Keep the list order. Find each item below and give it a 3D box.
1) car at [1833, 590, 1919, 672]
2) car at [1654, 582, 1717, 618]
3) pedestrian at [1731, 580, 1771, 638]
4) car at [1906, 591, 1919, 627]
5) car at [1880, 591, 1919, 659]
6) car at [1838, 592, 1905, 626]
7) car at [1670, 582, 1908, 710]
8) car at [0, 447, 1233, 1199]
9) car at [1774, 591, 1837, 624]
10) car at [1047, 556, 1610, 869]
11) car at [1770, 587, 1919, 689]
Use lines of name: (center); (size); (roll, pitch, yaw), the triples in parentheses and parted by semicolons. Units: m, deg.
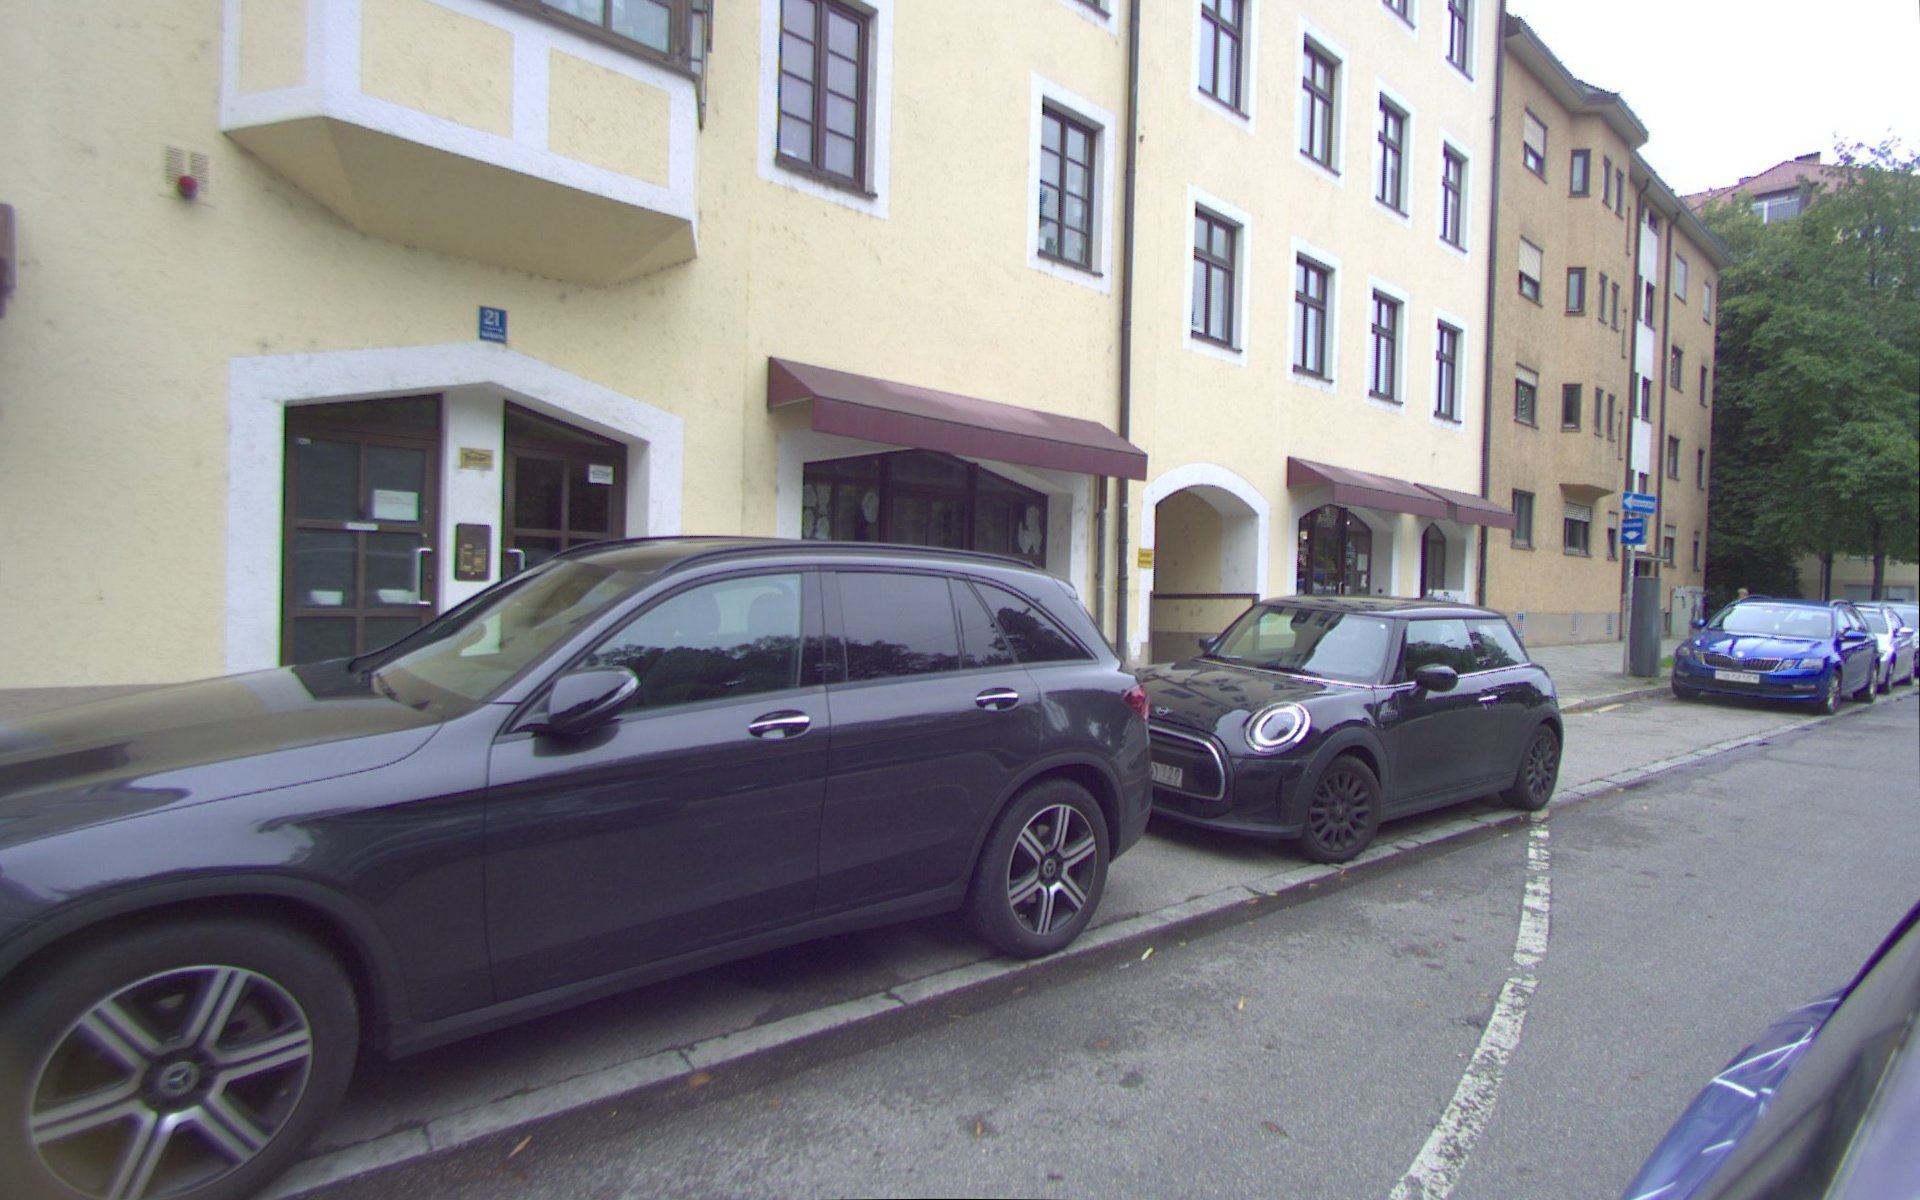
car: (19.698, 0.603, 21.067); (3.719, 1.514, 1.632); (0, 3, -39)
car: (38.290, -0.032, 53.381); (4.173, 1.773, 1.915); (0, 2, -43)
pedestrian: (22.999, 0.241, 29.434); (0.962, 1.644, 0.672); (-1, 2, -38)
car: (44.759, 0.434, 46.358); (4.174, 1.584, 1.822); (0, 2, -44)
car: (23.330, 0.604, 24.011); (3.752, 1.514, 1.632); (0, 3, -39)
car: (43.580, 0.421, 48.337); (4.174, 1.485, 2.050); (0, 2, -44)
car: (11.992, 0.561, 14.538); (4.406, 1.514, 1.761); (0, 3, -39)
car: (-1.137, 0.505, 3.770); (4.622, 1.700, 1.761); (0, 3, -40)
car: (41.716, 0.343, 49.878); (4.174, 1.485, 1.914); (0, 2, -44)
car: (2.598, 0.539, 6.838); (3.751, 1.514, 1.762); (0, 3, -37)
car: (15.919, 0.586, 17.821); (4.355, 1.514, 1.695); (0, 3, -40)
